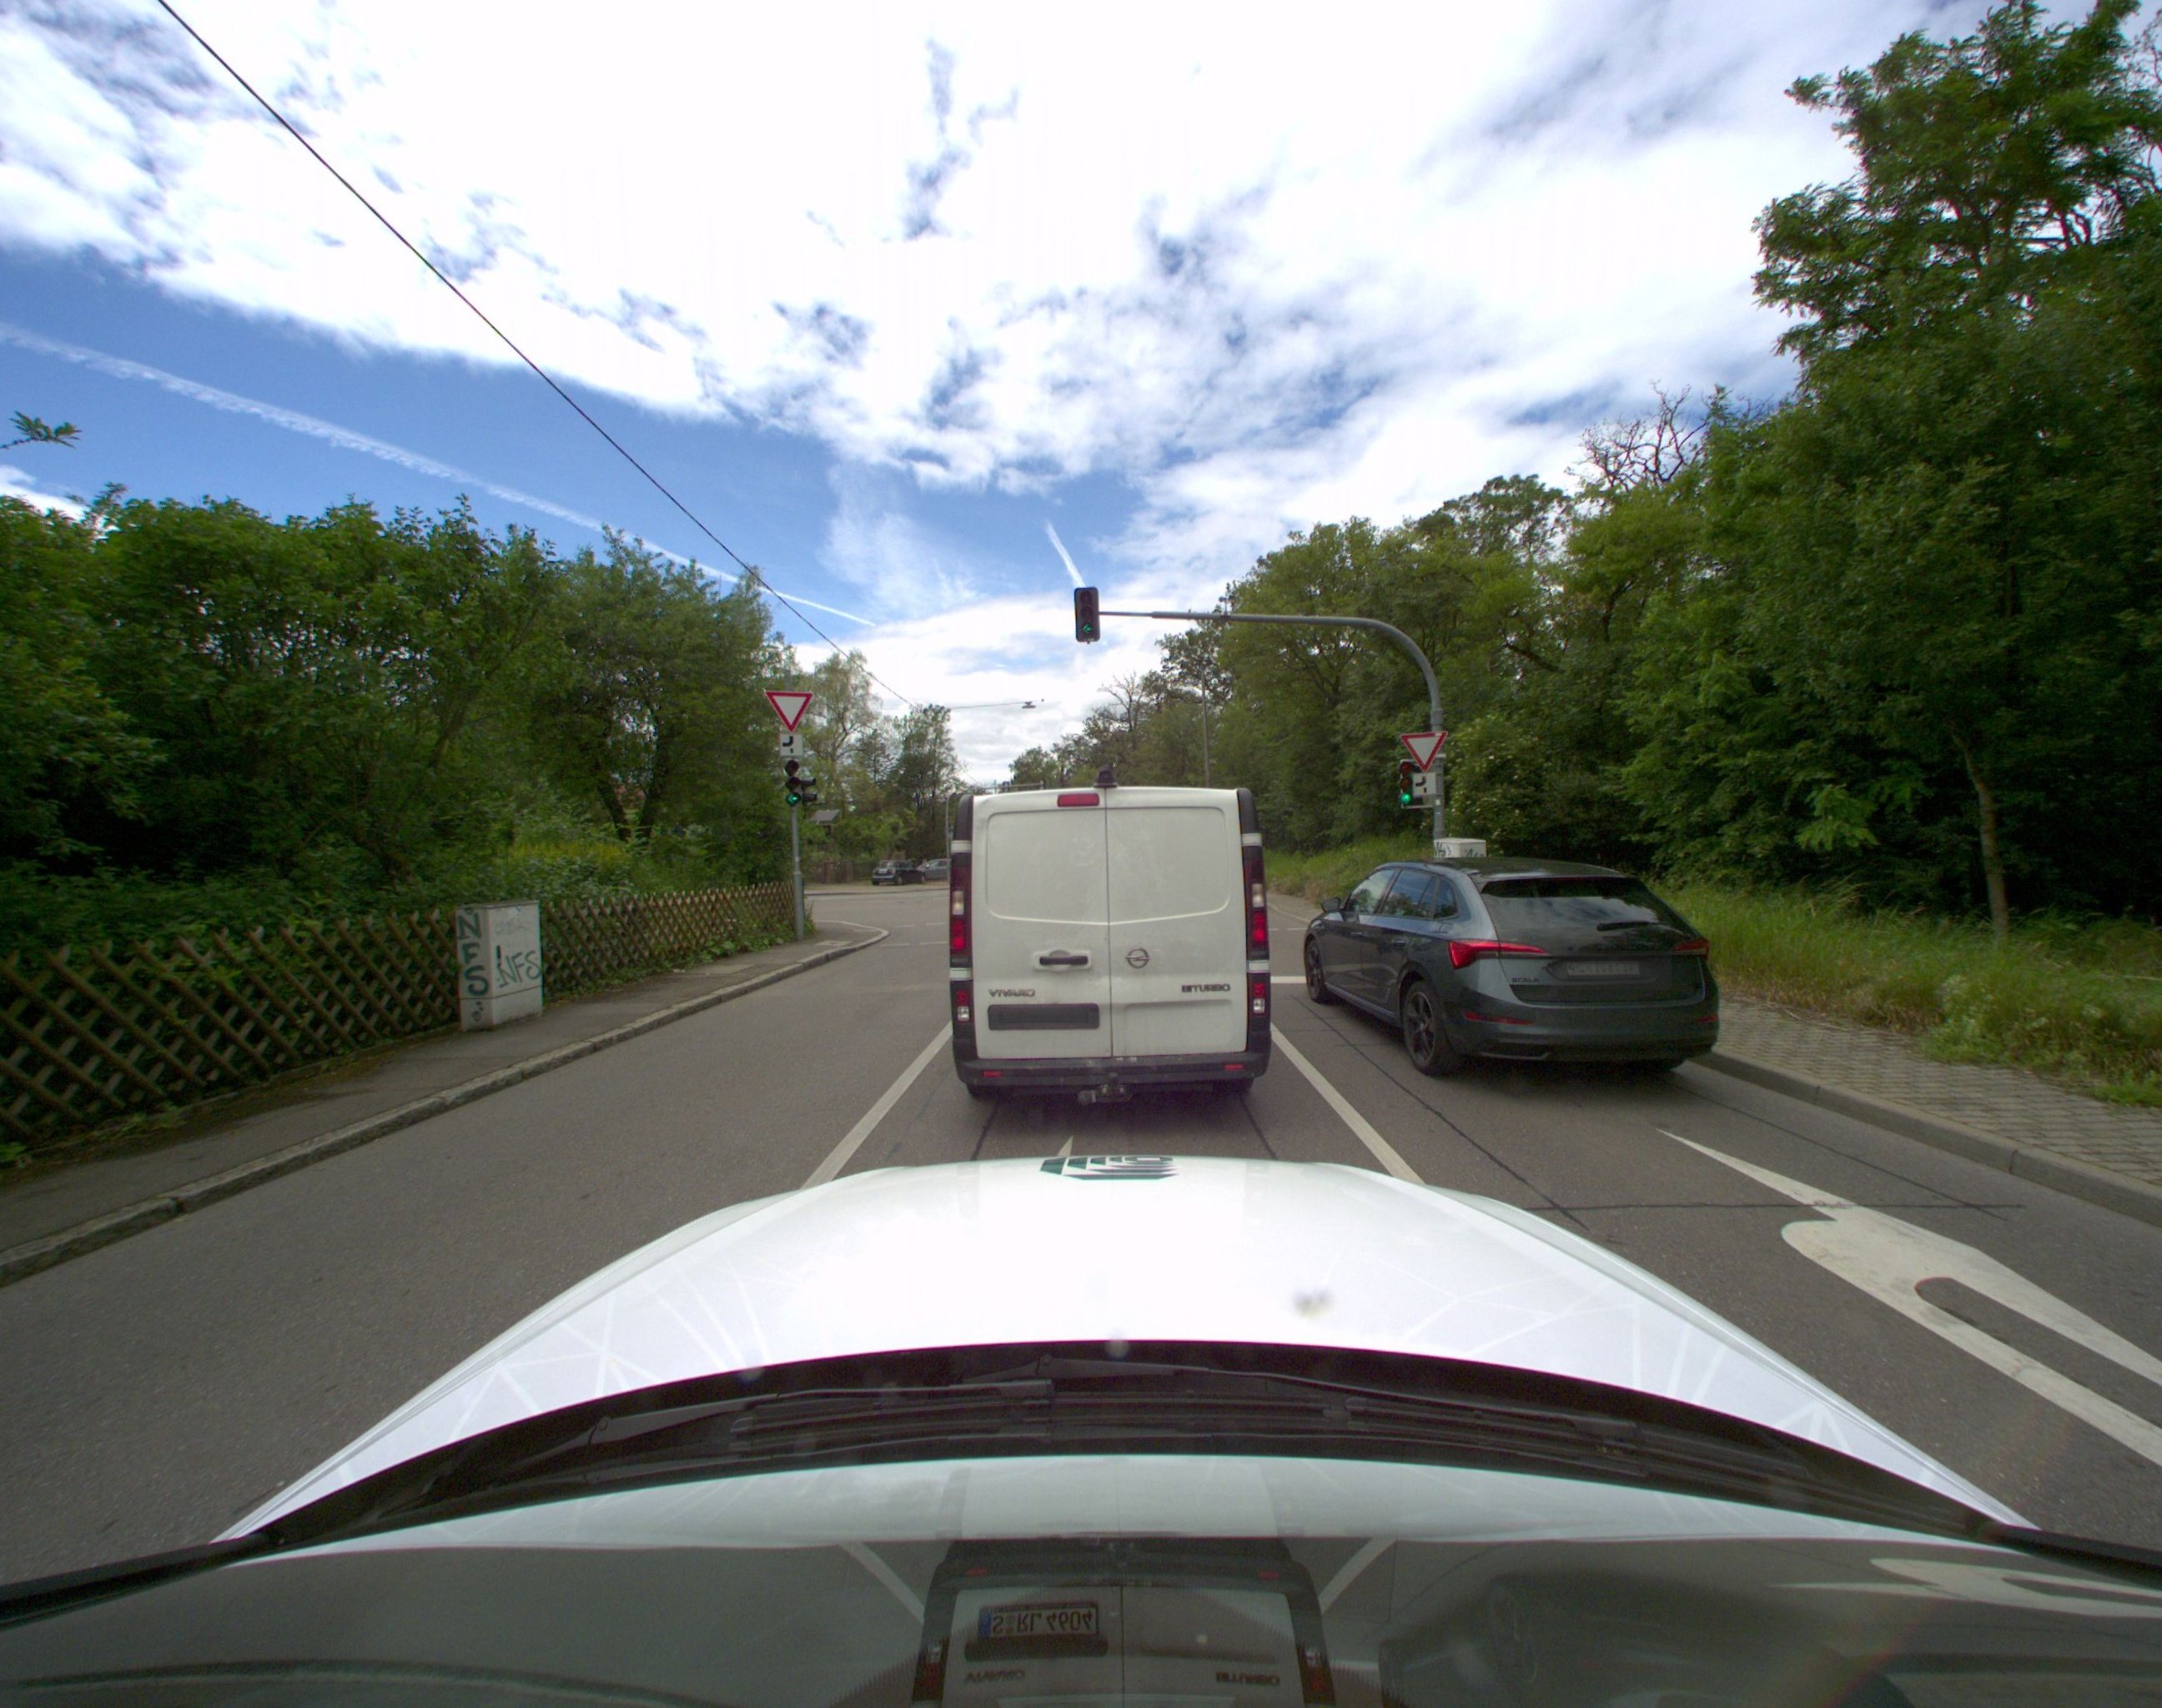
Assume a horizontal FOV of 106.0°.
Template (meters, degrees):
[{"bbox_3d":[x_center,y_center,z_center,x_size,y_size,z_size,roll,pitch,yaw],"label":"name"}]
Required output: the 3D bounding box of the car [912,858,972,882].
[{"bbox_3d":[-10.134,1.127,59.343,4.094,1.553,1.845,-2,1,-16],"label":"car"}]

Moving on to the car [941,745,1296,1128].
[{"bbox_3d":[0.197,0.434,6.695,1.910,2.053,4.613,0,0,0],"label":"car"}]

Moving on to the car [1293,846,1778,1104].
[{"bbox_3d":[3.158,0.694,6.724,1.786,1.450,4.000,-1,0,1],"label":"car"}]

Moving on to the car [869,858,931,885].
[{"bbox_3d":[-10.201,0.966,46.013,1.683,1.449,3.562,1,0,22],"label":"car"}]

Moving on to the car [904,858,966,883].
[{"bbox_3d":[-10.081,1.129,56.191,4.094,1.553,1.845,-2,1,-16],"label":"car"}]
